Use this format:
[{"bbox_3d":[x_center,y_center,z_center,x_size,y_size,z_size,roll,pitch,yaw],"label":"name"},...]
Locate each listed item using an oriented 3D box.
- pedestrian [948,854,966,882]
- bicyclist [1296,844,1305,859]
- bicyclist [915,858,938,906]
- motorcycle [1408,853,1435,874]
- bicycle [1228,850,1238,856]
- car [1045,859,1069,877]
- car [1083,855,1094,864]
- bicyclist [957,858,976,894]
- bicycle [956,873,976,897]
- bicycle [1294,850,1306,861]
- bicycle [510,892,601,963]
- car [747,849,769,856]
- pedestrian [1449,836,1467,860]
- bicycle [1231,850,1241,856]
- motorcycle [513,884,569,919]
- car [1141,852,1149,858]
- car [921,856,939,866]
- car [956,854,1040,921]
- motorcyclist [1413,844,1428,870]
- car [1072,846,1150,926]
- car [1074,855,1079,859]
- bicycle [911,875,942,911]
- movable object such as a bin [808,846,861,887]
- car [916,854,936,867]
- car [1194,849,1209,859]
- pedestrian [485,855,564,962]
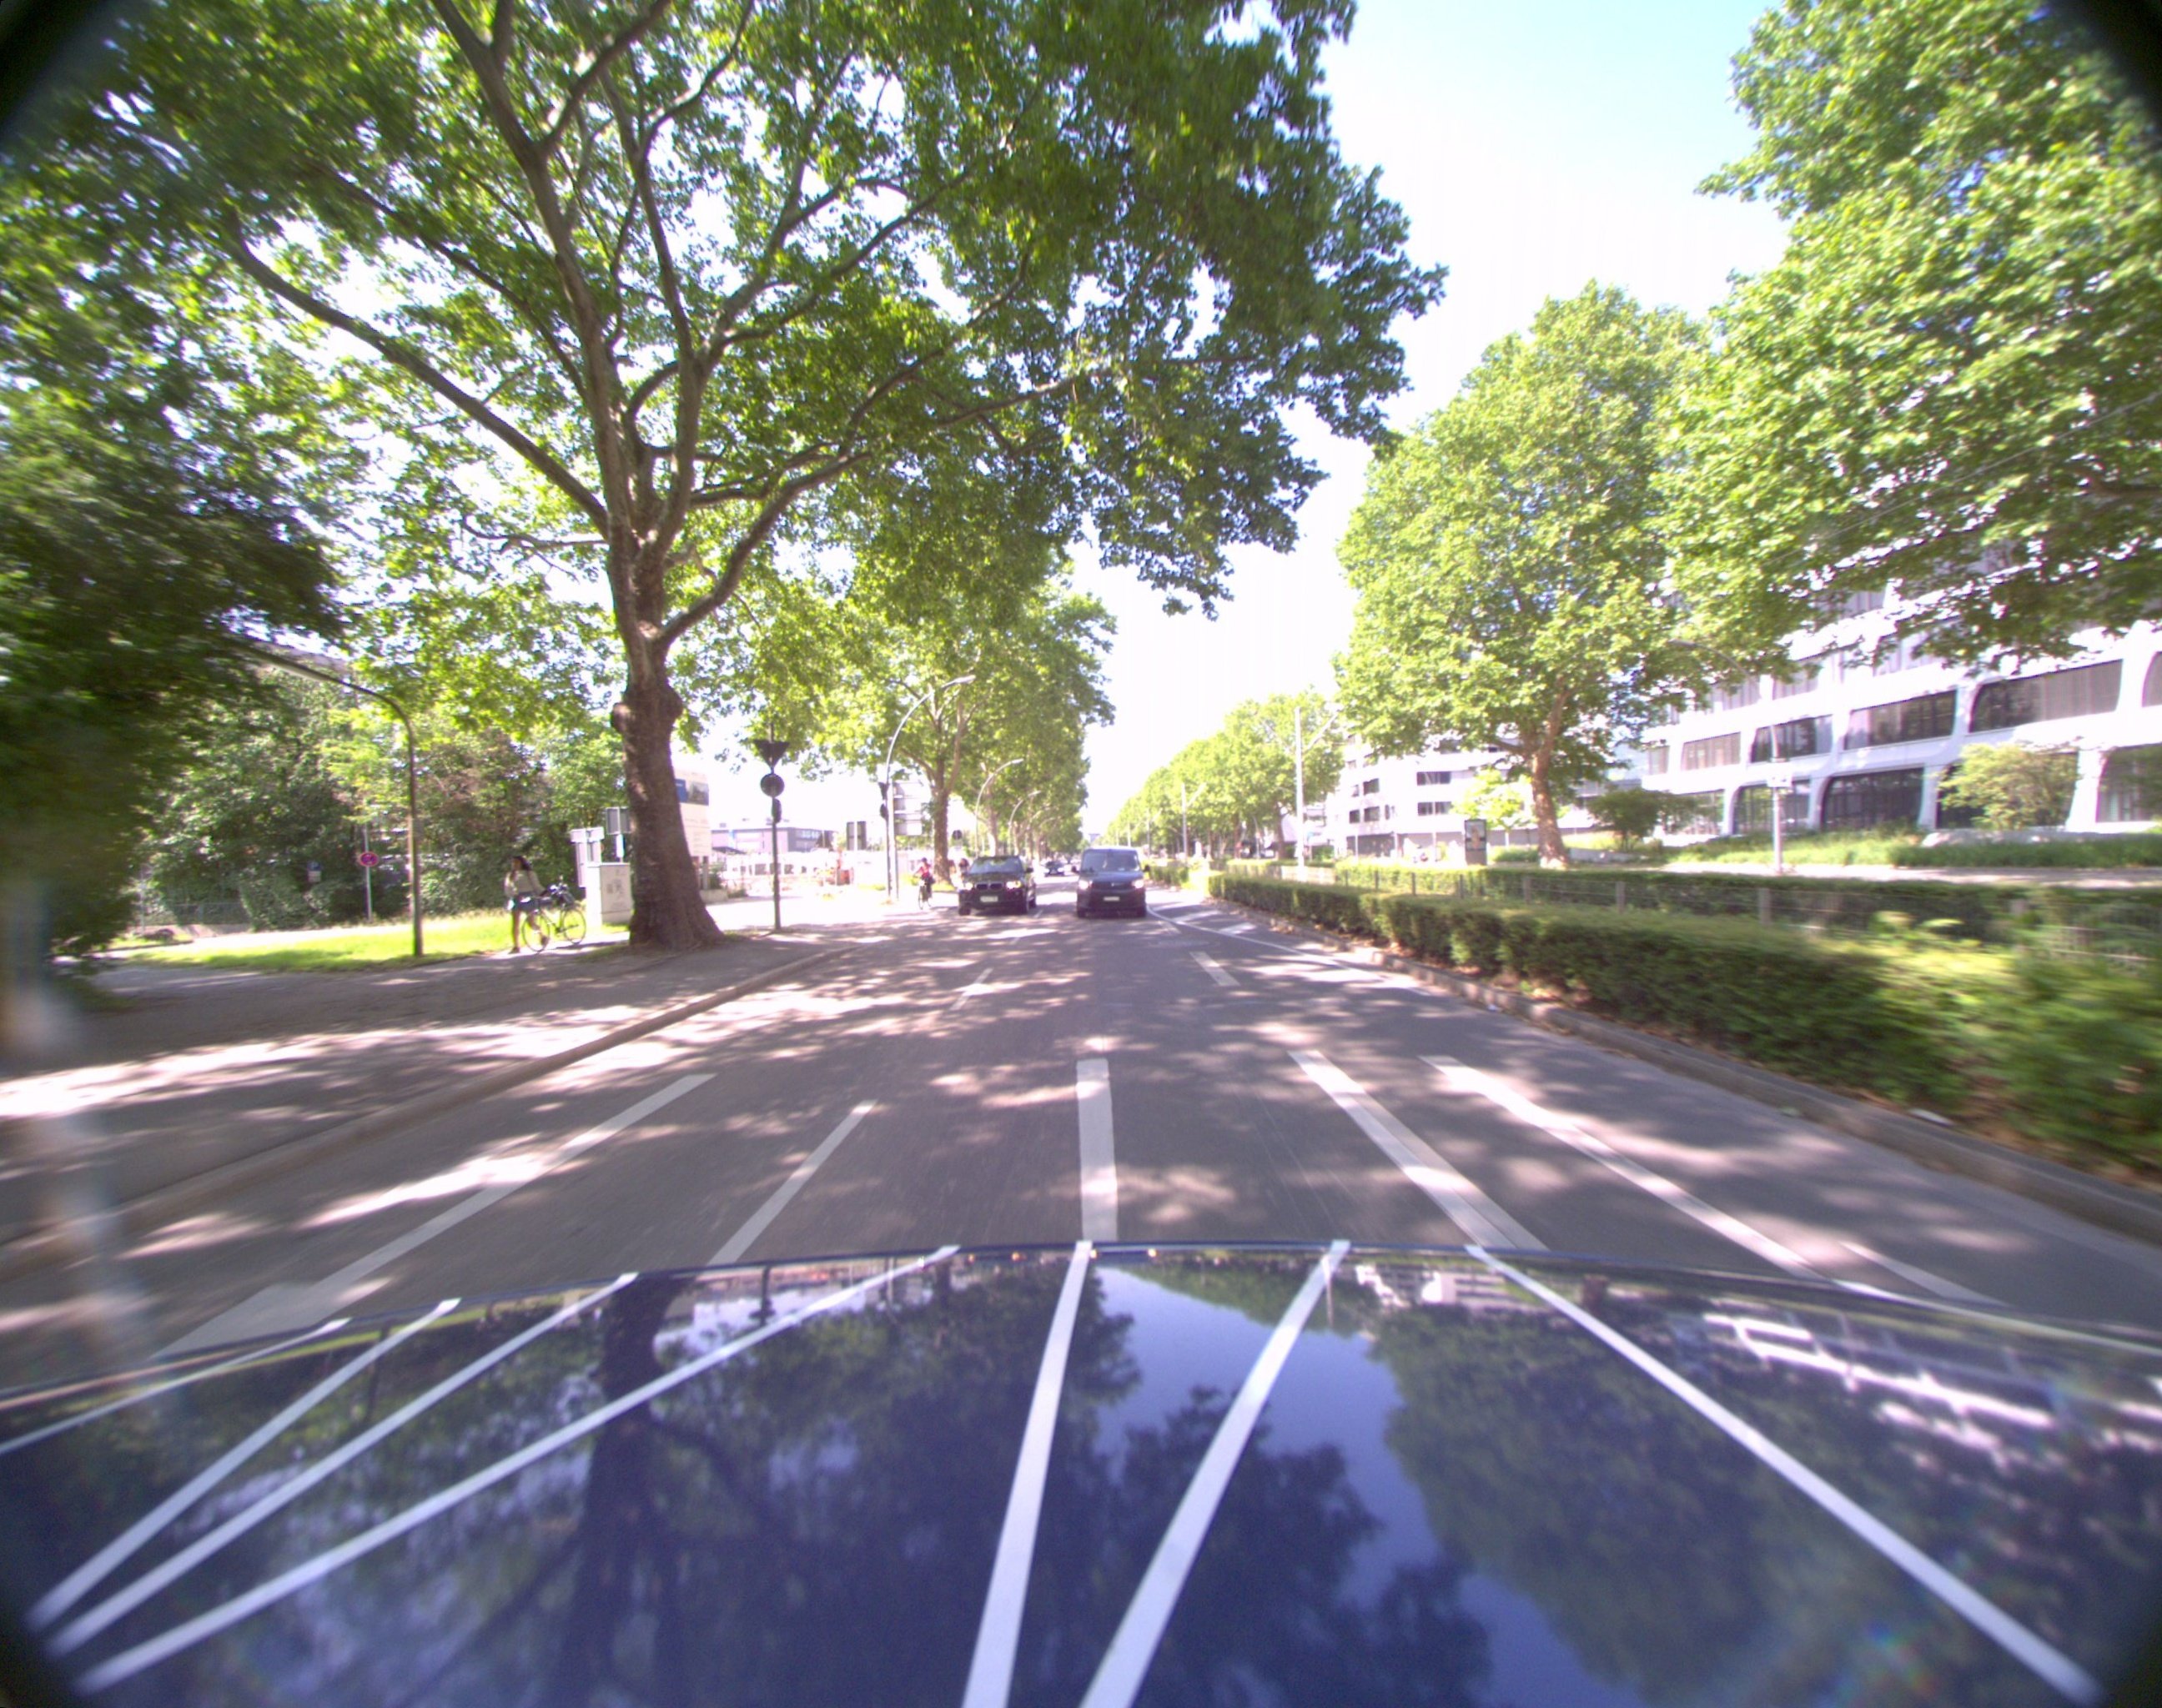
[{"bbox_3d":[-8.447,0.950,51.708,0.941,1.881,1.151,-2,0,1],"label":"pedestrian"},{"bbox_3d":[22.550,-0.215,78.129,0.656,1.526,0.641,-2,0,2],"label":"bicyclist"},{"bbox_3d":[-5.189,0.920,25.555,0.621,1.590,0.732,0,0,-1],"label":"bicyclist"},{"bbox_3d":[19.111,0.515,42.719,0.634,1.168,2.000,-2,0,1],"label":"motorcycle"},{"bbox_3d":[28.567,-0.185,143.064,1.770,1.096,0.422,-2,0,-1],"label":"bicycle"},{"bbox_3d":[-2.084,1.224,66.797,1.854,1.418,4.152,-3,0,2],"label":"car"},{"bbox_3d":[1.364,0.966,139.568,1.854,1.418,4.152,-3,0,2],"label":"car"},{"bbox_3d":[-4.852,0.921,32.184,0.600,1.481,1.215,1,0,-1],"label":"bicyclist"},{"bbox_3d":[-4.860,1.299,32.231,0.599,0.974,1.781,0,0,-1],"label":"bicycle"},{"bbox_3d":[22.555,0.161,78.172,0.665,1.117,2.031,-3,0,1],"label":"bicycle"},{"bbox_3d":[-9.202,1.256,13.371,0.350,1.075,1.699,-2,0,1],"label":"bicycle"},{"bbox_3d":[-70.188,-0.329,165.328,3.998,1.501,1.808,-2,0,-2],"label":"car"},{"bbox_3d":[25.847,-0.401,52.072,0.722,1.579,1.015,-2,1,1],"label":"pedestrian"},{"bbox_3d":[28.743,-0.186,140.685,1.770,1.096,0.422,-2,0,-1],"label":"bicycle"},{"bbox_3d":[-15.838,1.381,22.292,1.223,0.962,0.471,-2,0,-6],"label":"motorcycle"},{"bbox_3d":[17.769,0.240,210.865,1.820,1.482,3.912,0,0,-1],"label":"car"},{"bbox_3d":[-36.852,1.735,185.164,3.998,2.308,1.808,-2,0,-2],"label":"car"},{"bbox_3d":[-2.365,0.907,22.795,1.924,1.720,4.152,-3,0,1],"label":"car"},{"bbox_3d":[19.091,0.149,42.691,0.582,1.449,0.533,-2,1,1],"label":"motorcyclist"},{"bbox_3d":[0.757,0.735,19.627,1.789,1.839,4.000,-1,0,2],"label":"car"},{"bbox_3d":[-1.554,0.971,255.610,1.860,1.445,4.000,-2,0,-1],"label":"car"},{"bbox_3d":[-5.197,1.299,25.654,0.653,1.123,1.945,-1,0,0],"label":"bicycle"},{"bbox_3d":[-20.002,0.963,61.969,2.375,3.054,5.984,-3,0,-2],"label":"movable object such as a bin"},{"bbox_3d":[-36.568,1.547,179.407,4.375,2.722,1.808,-2,0,-2],"label":"car"},{"bbox_3d":[18.925,0.024,119.846,1.761,1.560,4.019,-3,0,1],"label":"car"},{"bbox_3d":[-9.609,0.912,13.146,0.633,1.775,0.874,-2,1,1],"label":"pedestrian"}]
